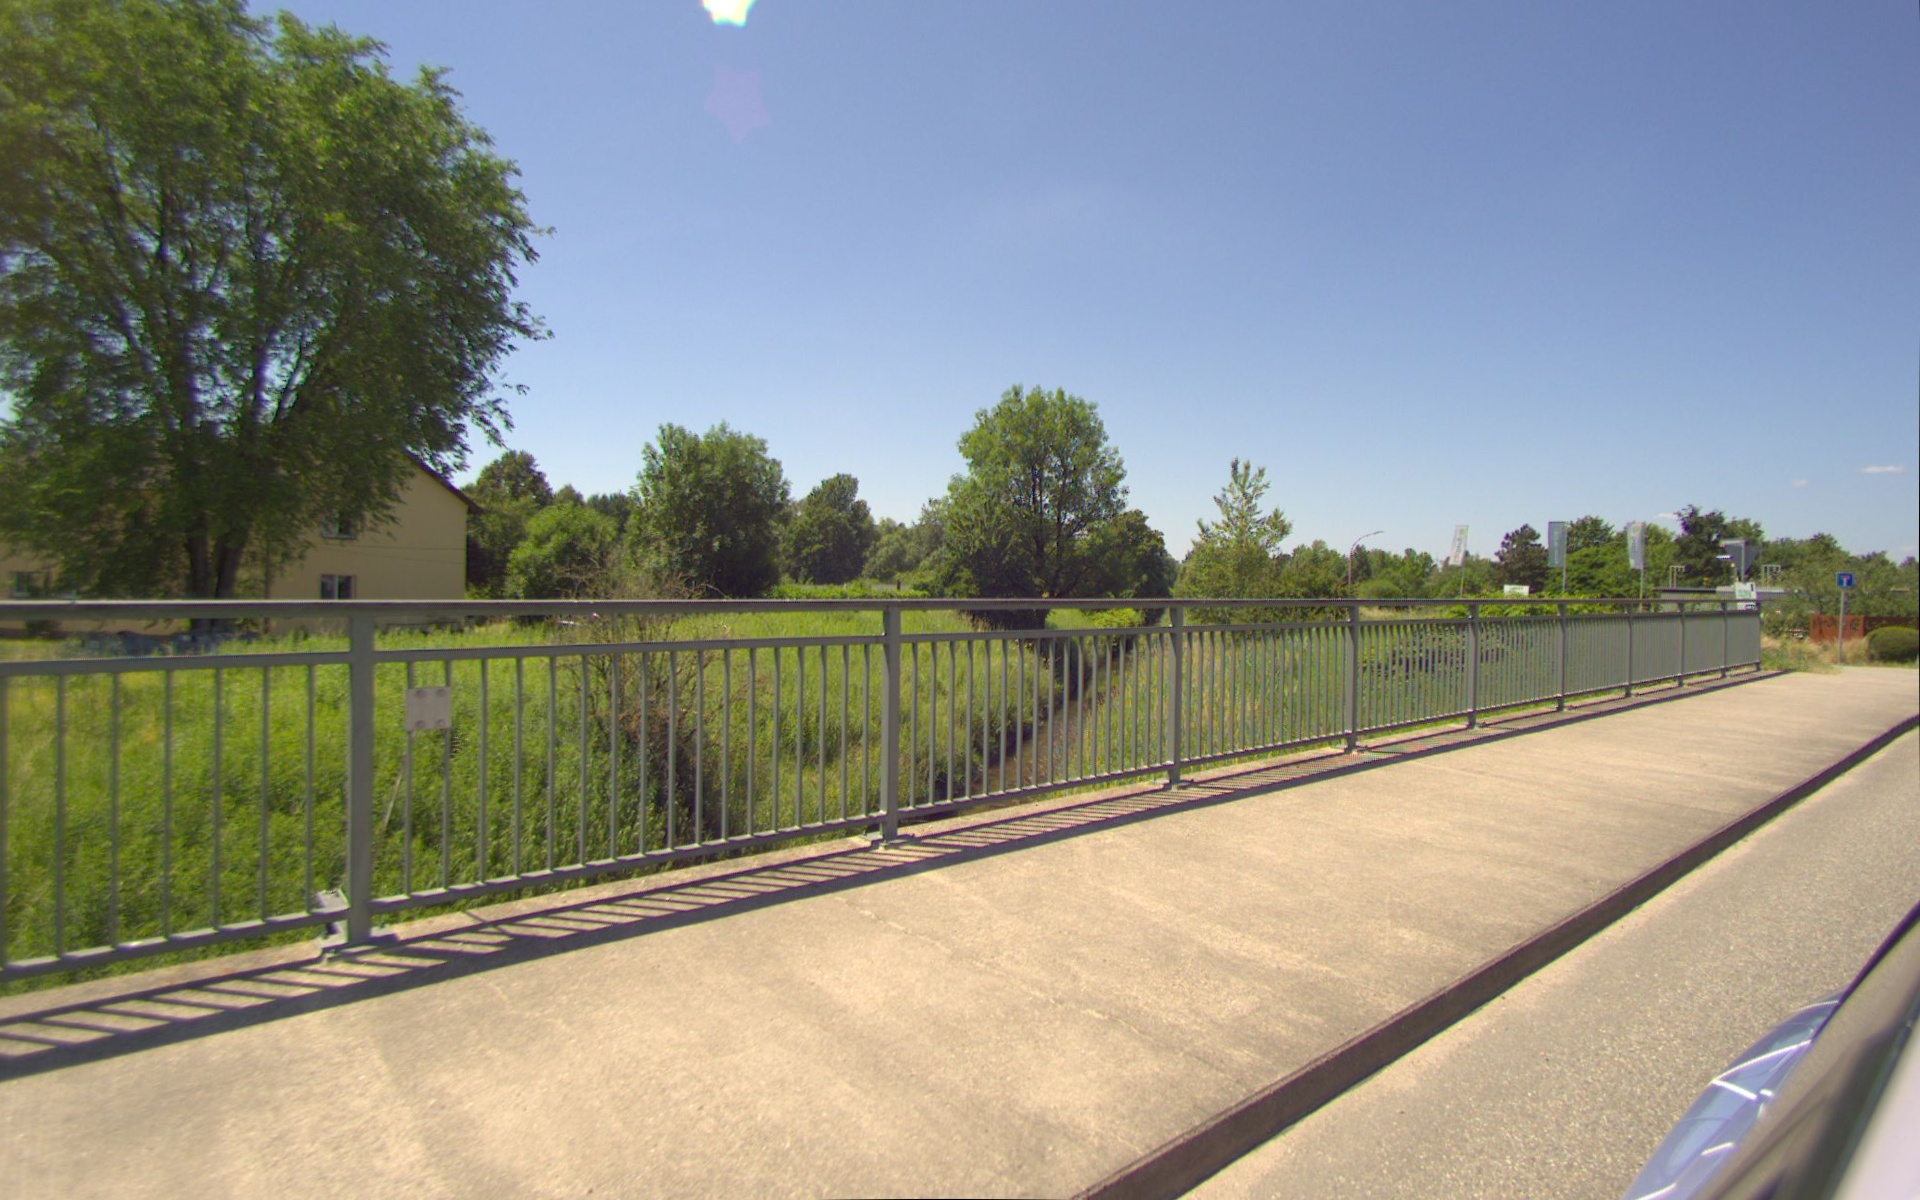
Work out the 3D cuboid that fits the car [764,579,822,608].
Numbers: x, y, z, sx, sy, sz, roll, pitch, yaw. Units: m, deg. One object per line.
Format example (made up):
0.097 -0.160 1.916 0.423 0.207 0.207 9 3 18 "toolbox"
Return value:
-9.997 -0.385 61.047 1.969 1.644 4.497 2 1 12 "car"
